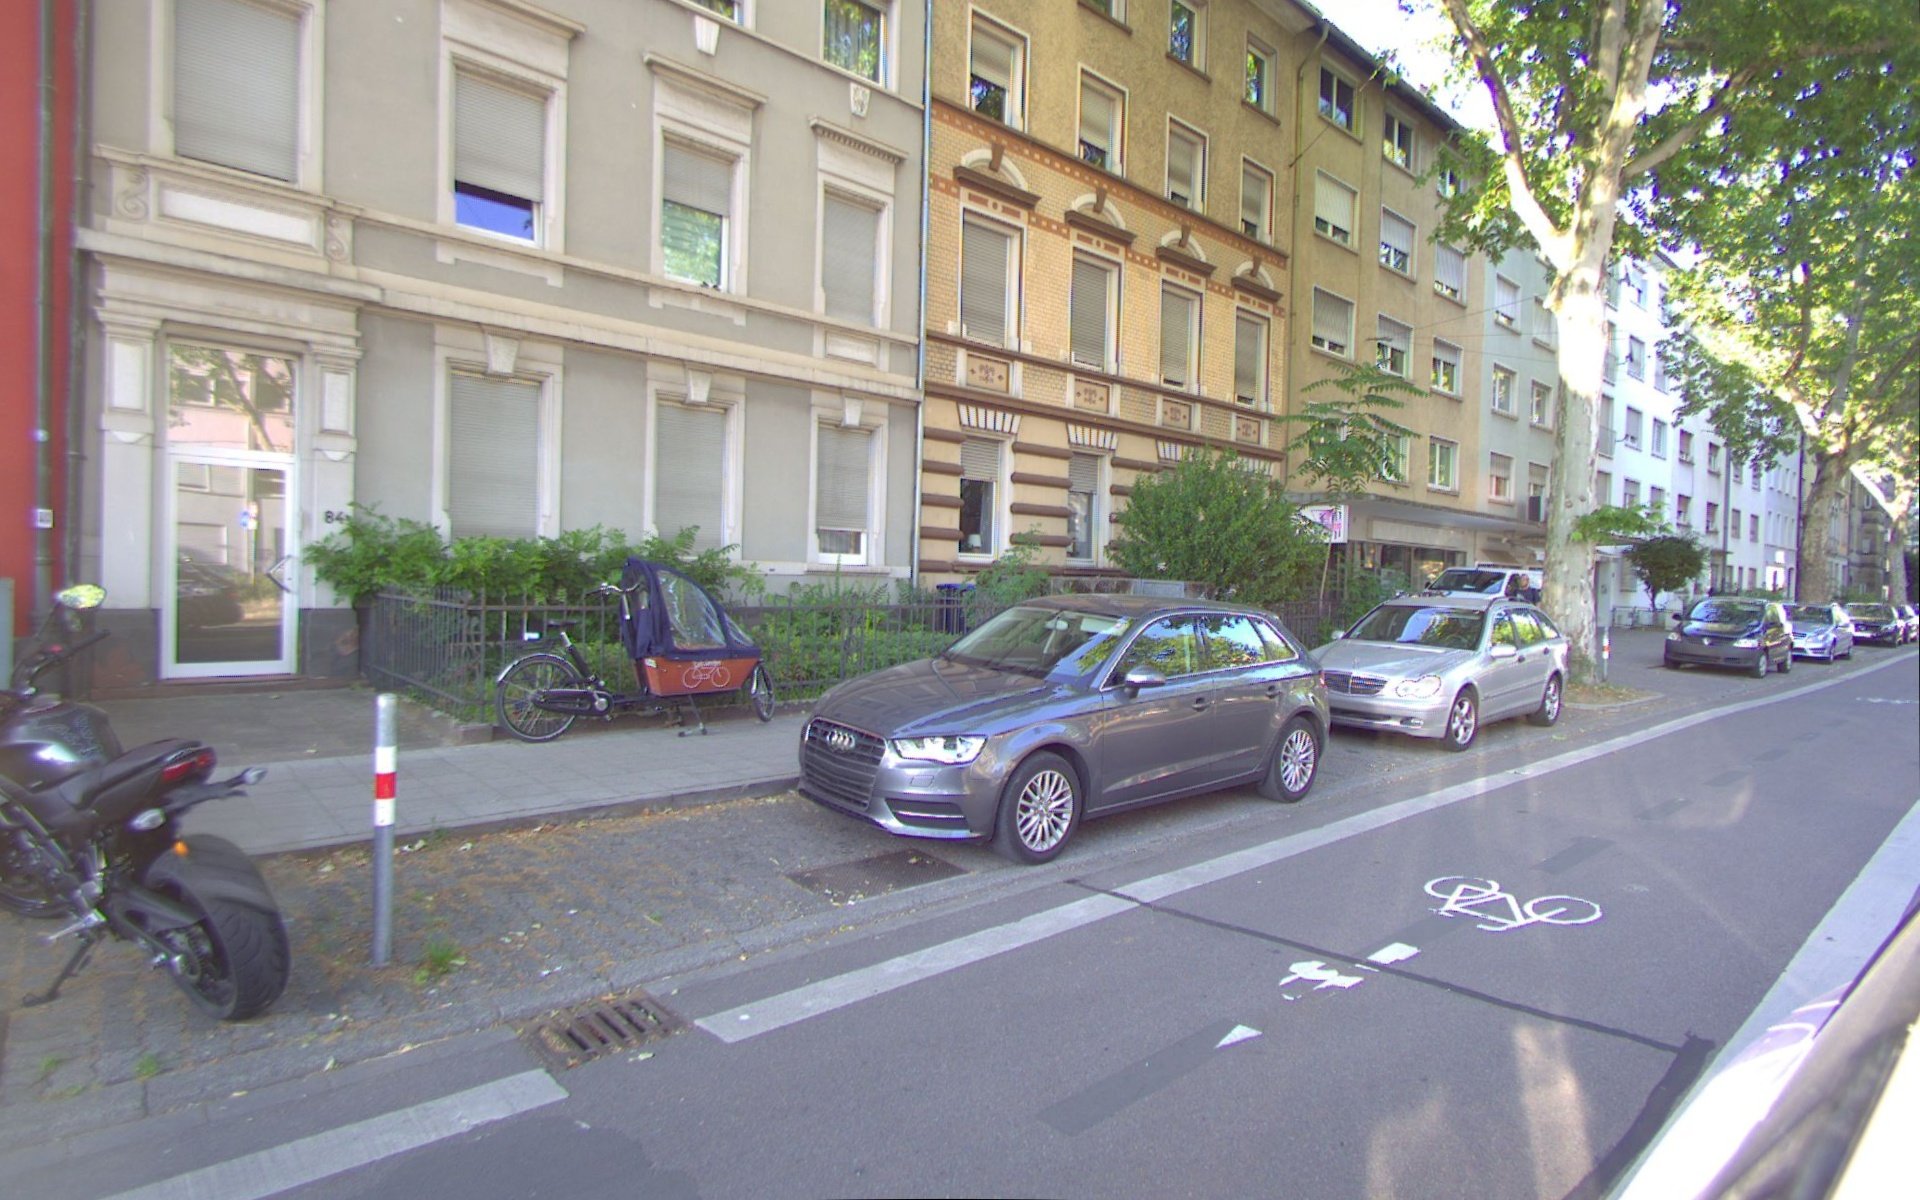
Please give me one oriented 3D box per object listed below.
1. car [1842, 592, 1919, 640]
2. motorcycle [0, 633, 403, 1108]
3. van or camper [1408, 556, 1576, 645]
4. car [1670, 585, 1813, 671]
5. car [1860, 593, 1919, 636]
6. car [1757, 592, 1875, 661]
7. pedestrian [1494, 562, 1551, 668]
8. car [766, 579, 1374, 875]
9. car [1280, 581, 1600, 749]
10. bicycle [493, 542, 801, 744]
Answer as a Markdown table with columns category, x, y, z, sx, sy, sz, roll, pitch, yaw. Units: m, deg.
| category | x | y | z | sx | sy | sz | roll | pitch | yaw |
| --- | --- | --- | --- | --- | --- | --- | --- | --- | --- |
| car | 31.667 | 0.498 | 34.605 | 4.289 | 1.432 | 1.712 | 0 | 4 | -42 |
| motorcycle | -3.024 | 0.758 | 3.570 | 2.193 | 1.076 | 0.760 | 4 | 2 | 28 |
| van or camper | 13.178 | -0.026 | 24.913 | 5.299 | 1.946 | 1.945 | 0 | 2 | -42 |
| car | 16.245 | 0.520 | 20.960 | 3.932 | 1.564 | 1.656 | 0 | 2 | -42 |
| car | 35.194 | 0.509 | 37.874 | 4.289 | 1.432 | 1.712 | 0 | 4 | -42 |
| car | 21.998 | 0.621 | 25.954 | 4.695 | 1.561 | 1.697 | 0 | 2 | -42 |
| pedestrian | 11.195 | 0.275 | 20.143 | 0.995 | 2.038 | 0.683 | 0 | 1 | -44 |
| car | 0.974 | 0.605 | 6.977 | 4.245 | 1.414 | 1.714 | 0 | 2 | -41 |
| car | 5.461 | 0.562 | 11.204 | 4.494 | 1.469 | 1.676 | 0 | 2 | -43 |
| bicycle | -2.462 | 0.298 | 8.231 | 2.354 | 1.445 | 0.608 | 0 | 0 | -41 |
